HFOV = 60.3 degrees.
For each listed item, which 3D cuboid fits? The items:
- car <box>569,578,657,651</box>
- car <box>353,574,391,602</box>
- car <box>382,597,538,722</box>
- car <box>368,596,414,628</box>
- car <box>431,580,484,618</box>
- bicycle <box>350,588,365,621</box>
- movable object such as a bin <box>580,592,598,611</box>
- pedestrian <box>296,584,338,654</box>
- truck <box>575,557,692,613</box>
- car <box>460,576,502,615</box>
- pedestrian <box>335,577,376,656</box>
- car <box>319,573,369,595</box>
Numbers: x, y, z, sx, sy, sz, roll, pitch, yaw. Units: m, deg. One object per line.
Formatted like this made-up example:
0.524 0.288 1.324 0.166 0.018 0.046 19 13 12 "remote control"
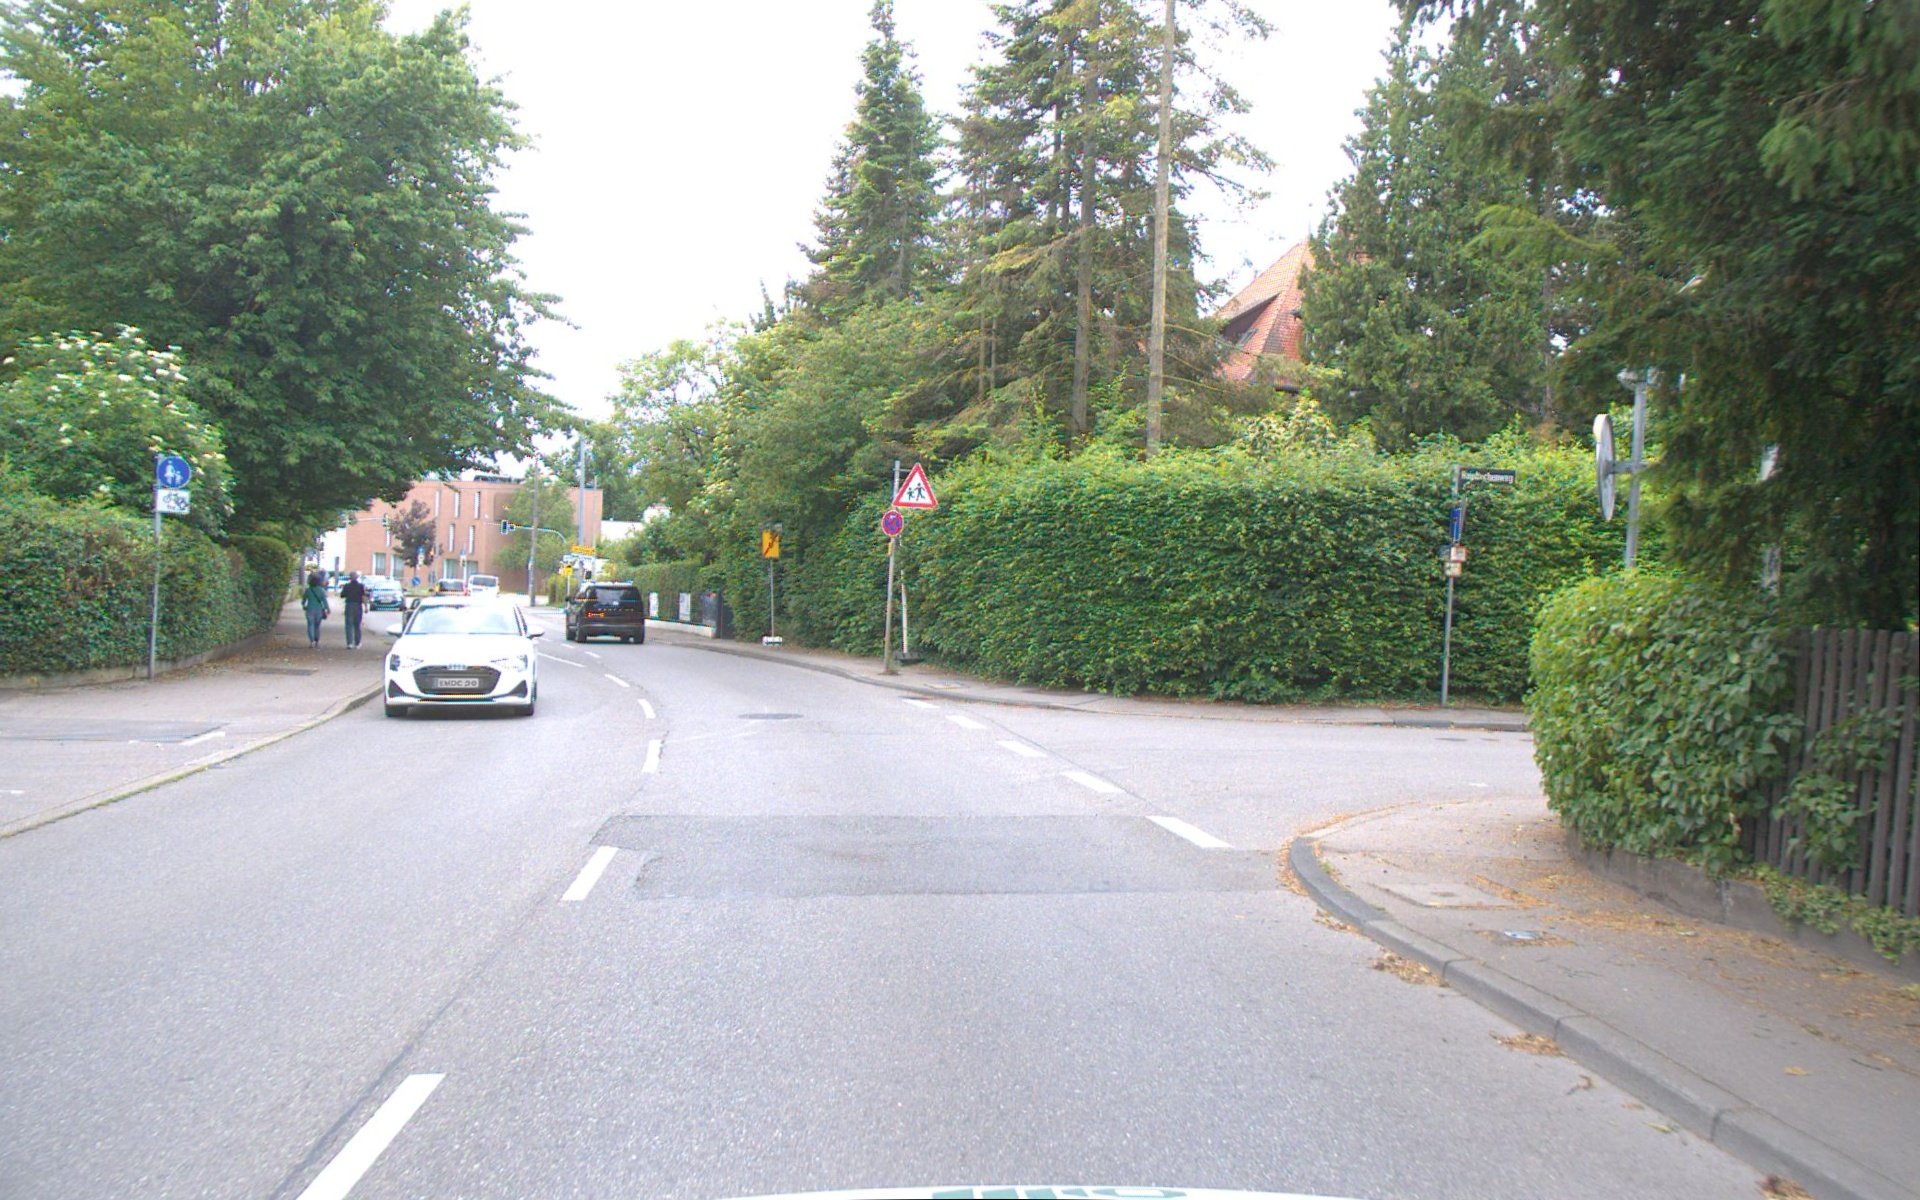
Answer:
-10.057 0.380 47.772 1.963 1.914 3.979 2 1 -19 "car"
-36.030 -0.763 101.253 1.809 1.659 4.249 0 1 -25 "car"
-6.476 0.708 21.702 1.778 1.468 4.181 0 0 -15 "car"
-27.592 0.555 80.144 1.699 1.497 3.502 0 1 -26 "car"
-24.302 -0.081 80.098 1.858 1.735 3.992 2 0 -9 "car"
-32.794 0.228 89.971 0.748 1.775 1.860 0 1 -21 "bicycle"
-21.539 0.090 95.963 0.668 1.092 0.714 2 -2 33 "movable object such as a bin"
-13.989 0.413 35.953 0.663 1.474 0.748 2 -1 -34 "pedestrian"
-29.948 -1.326 152.383 3.071 4.817 11.758 2 0 34 "truck"
-28.716 -0.264 99.324 1.928 2.048 4.416 5 1 -12 "car"
-13.335 0.361 36.480 0.623 1.691 0.909 2 -1 -34 "pedestrian"
-59.552 -1.543 159.901 1.964 2.049 3.977 2 0 41 "car"
